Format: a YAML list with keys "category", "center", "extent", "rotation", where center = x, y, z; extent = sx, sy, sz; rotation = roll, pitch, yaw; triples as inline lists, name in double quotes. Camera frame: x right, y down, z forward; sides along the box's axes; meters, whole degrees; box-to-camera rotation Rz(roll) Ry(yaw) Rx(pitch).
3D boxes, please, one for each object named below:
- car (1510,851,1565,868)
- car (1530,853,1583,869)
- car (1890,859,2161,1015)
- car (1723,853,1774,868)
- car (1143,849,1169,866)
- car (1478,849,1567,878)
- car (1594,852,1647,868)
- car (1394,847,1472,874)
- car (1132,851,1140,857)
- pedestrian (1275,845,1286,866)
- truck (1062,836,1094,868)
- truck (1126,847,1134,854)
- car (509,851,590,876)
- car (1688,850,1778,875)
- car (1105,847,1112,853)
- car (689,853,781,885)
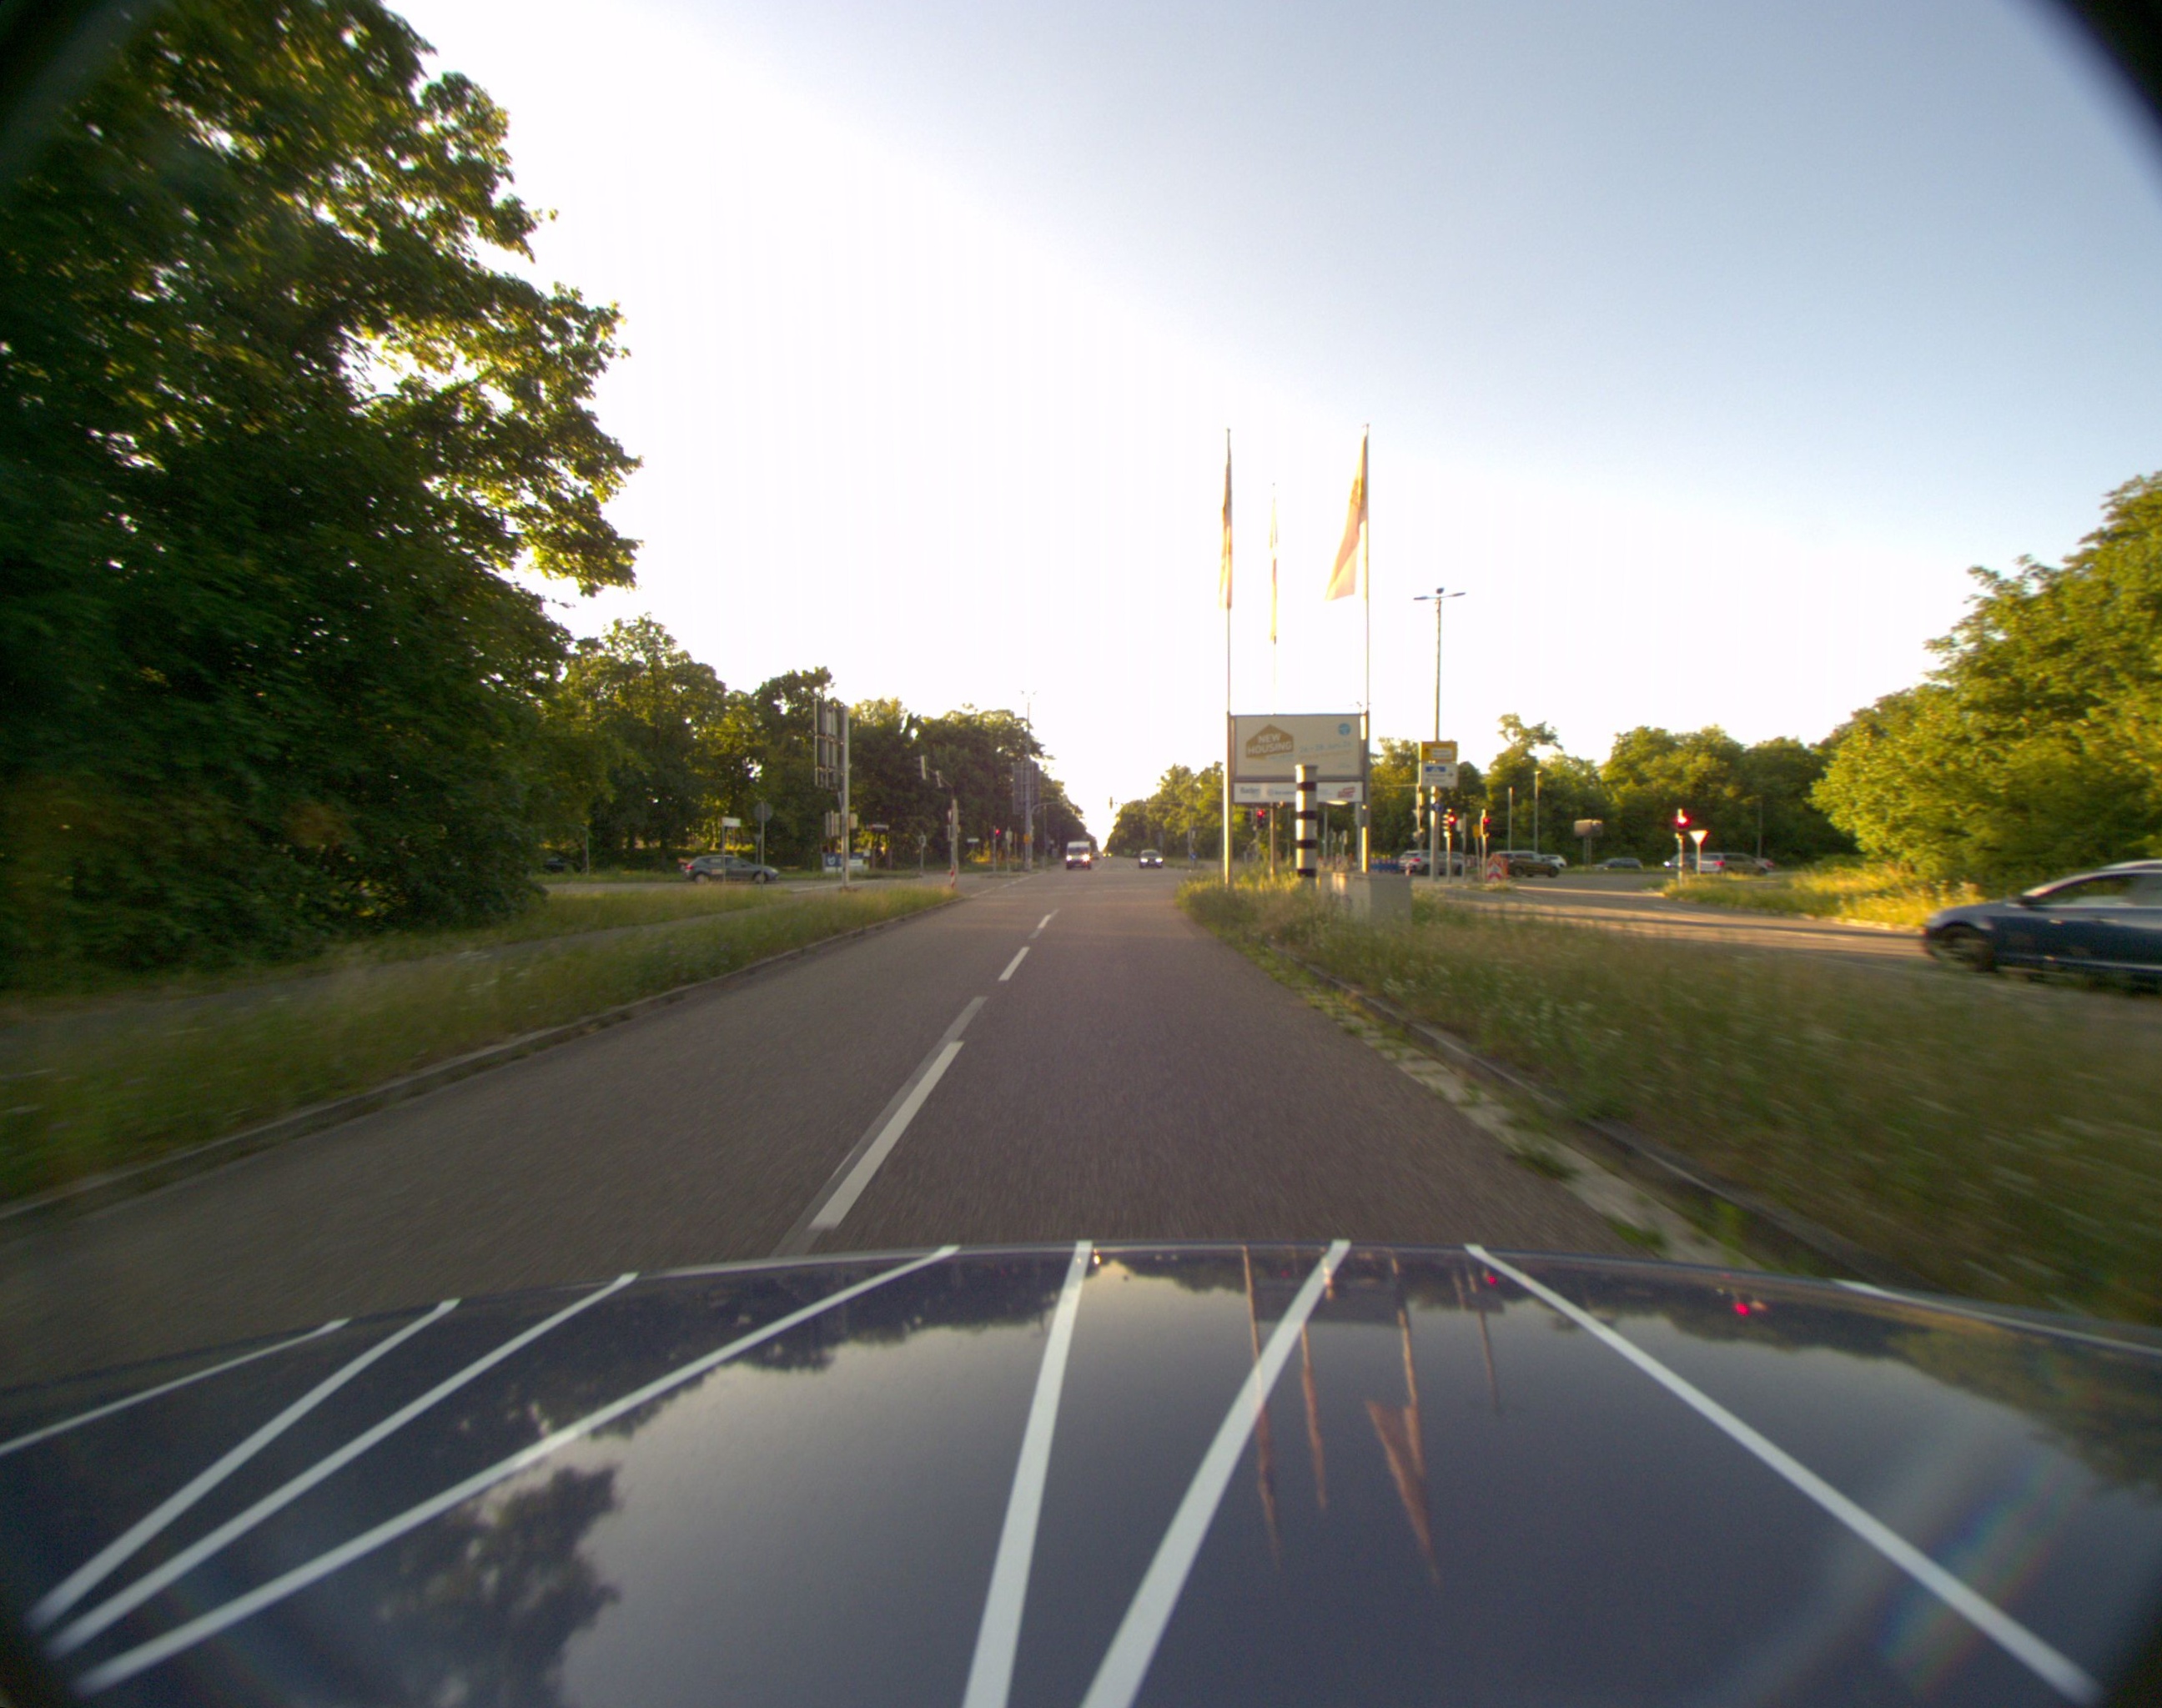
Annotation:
- category: "car"
  center: [39.831, 0.470, 66.310]
  extent: [4.235, 1.447, 1.719]
  rotation: [-1, 1, -15]
- category: "car"
  center: [44.687, 0.645, 71.419]
  extent: [4.235, 1.447, 1.719]
  rotation: [-1, 1, -15]
- category: "car"
  center: [11.805, 0.878, 8.034]
  extent: [1.823, 1.525, 4.455]
  rotation: [2, 1, 3]
- category: "car"
  center: [67.882, 0.644, 77.252]
  extent: [4.236, 1.413, 1.881]
  rotation: [-1, 1, -16]
- category: "car"
  center: [6.682, 0.292, 68.102]
  extent: [2.001, 1.511, 4.000]
  rotation: [0, 1, 2]
- category: "car"
  center: [27.604, 0.614, 47.546]
  extent: [4.825, 1.652, 2.008]
  rotation: [1, 2, -18]
- category: "car"
  center: [51.821, 0.581, 72.986]
  extent: [4.403, 1.447, 1.719]
  rotation: [-1, 1, -15]
- category: "car"
  center: [22.712, 0.414, 48.996]
  extent: [4.400, 1.614, 1.997]
  rotation: [-1, 0, -19]
- category: "car"
  center: [13.959, 0.013, 192.714]
  extent: [1.663, 1.320, 4.045]
  rotation: [0, 2, 0]
- category: "pedestrian"
  center: [17.291, 0.150, 65.952]
  extent: [0.750, 1.790, 0.574]
  rotation: [-1, 1, -22]
- category: "truck"
  center: [-0.295, -0.132, 66.629]
  extent: [2.604, 2.542, 6.023]
  rotation: [-3, -1, -1]
- category: "truck"
  center: [13.907, -0.942, 216.046]
  extent: [1.999, 2.109, 3.999]
  rotation: [0, 1, 0]
- category: "car"
  center: [-36.658, 0.658, 52.504]
  extent: [4.556, 1.648, 1.860]
  rotation: [0, 0, -36]
- category: "car"
  center: [45.869, 0.603, 53.546]
  extent: [4.655, 1.714, 1.872]
  rotation: [0, 1, 3]
- category: "car"
  center: [8.329, -1.146, 229.860]
  extent: [1.846, 1.587, 4.207]
  rotation: [0, 2, 1]
- category: "car"
  center: [-17.075, 0.720, 37.710]
  extent: [4.080, 1.397, 1.868]
  rotation: [-1, 2, -22]
